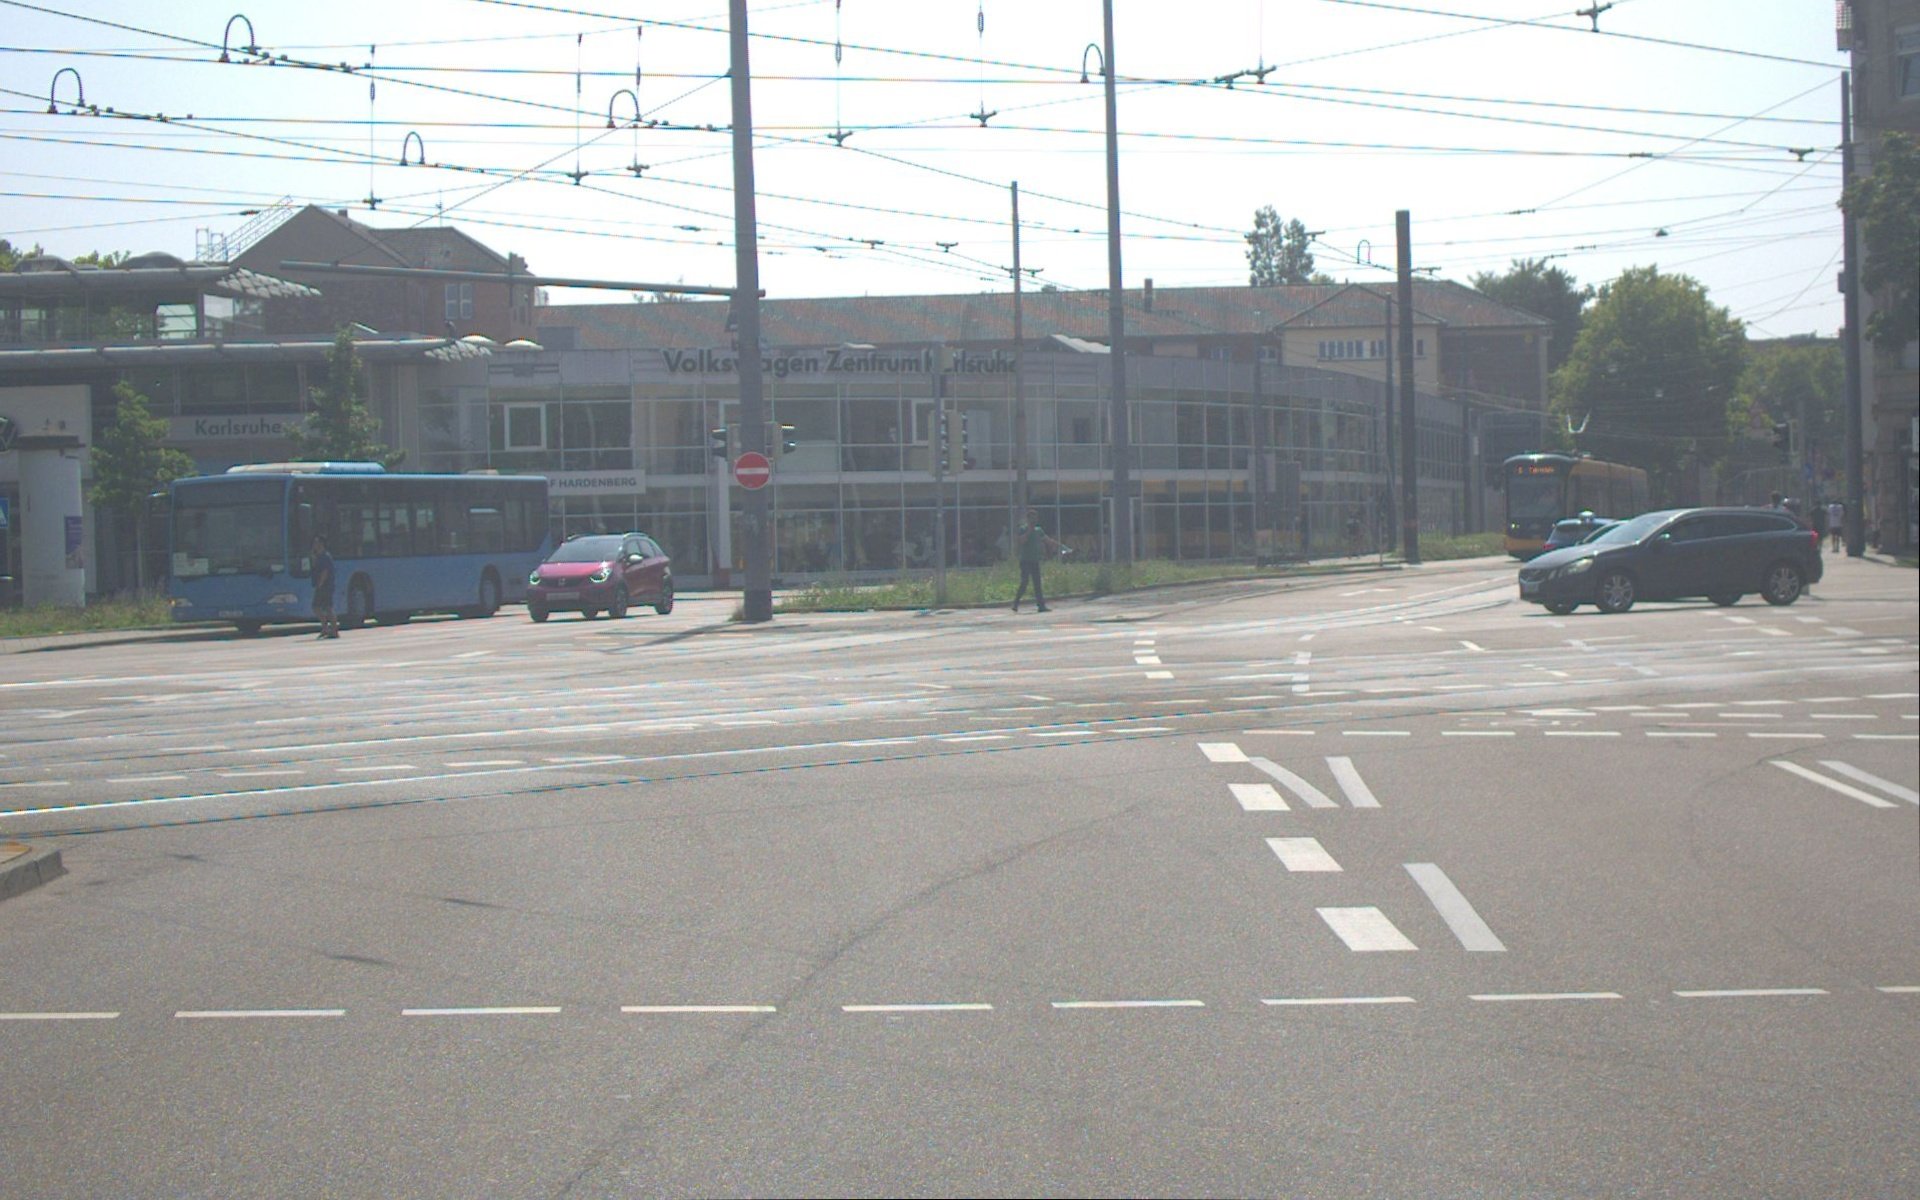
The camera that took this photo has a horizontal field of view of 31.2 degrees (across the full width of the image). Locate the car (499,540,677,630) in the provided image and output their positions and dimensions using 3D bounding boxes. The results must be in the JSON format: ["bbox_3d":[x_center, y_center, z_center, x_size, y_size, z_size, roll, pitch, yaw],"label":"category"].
[{"bbox_3d":[-6.810,-0.302,63.339,1.751,1.546,3.997,-1,1,18],"label":"car"}]

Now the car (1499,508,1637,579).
[{"bbox_3d":[12.403,-1.164,69.992,1.593,1.389,3.994,-1,1,28],"label":"car"}]

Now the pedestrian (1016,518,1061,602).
[{"bbox_3d":[1.357,-0.692,59.591,0.676,1.438,0.366,-1,1,-17],"label":"pedestrian"}]

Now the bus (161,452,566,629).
[{"bbox_3d":[-11.241,-1.187,66.603,2.564,3.072,12.014,-1,1,17],"label":"bus"}]

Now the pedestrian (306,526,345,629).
[{"bbox_3d":[-10.475,-0.376,56.741,0.552,1.678,0.454,-1,1,-18],"label":"pedestrian"}]

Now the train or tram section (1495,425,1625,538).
[{"bbox_3d":[20.060,-3.888,114.401,2.590,3.504,10.889,-1,1,19],"label":"train or tram section"}]

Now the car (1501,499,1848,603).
[{"bbox_3d":[10.515,-0.734,50.588,4.752,1.411,1.776,-2,1,-19],"label":"car"}]

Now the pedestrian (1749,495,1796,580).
[{"bbox_3d":[15.559,-1.196,65.852,0.699,1.597,0.573,-1,1,-8],"label":"pedestrian"}]

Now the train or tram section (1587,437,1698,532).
[{"bbox_3d":[26.868,-4.460,134.886,2.590,3.504,12.961,-1,1,19],"label":"train or tram section"}]
